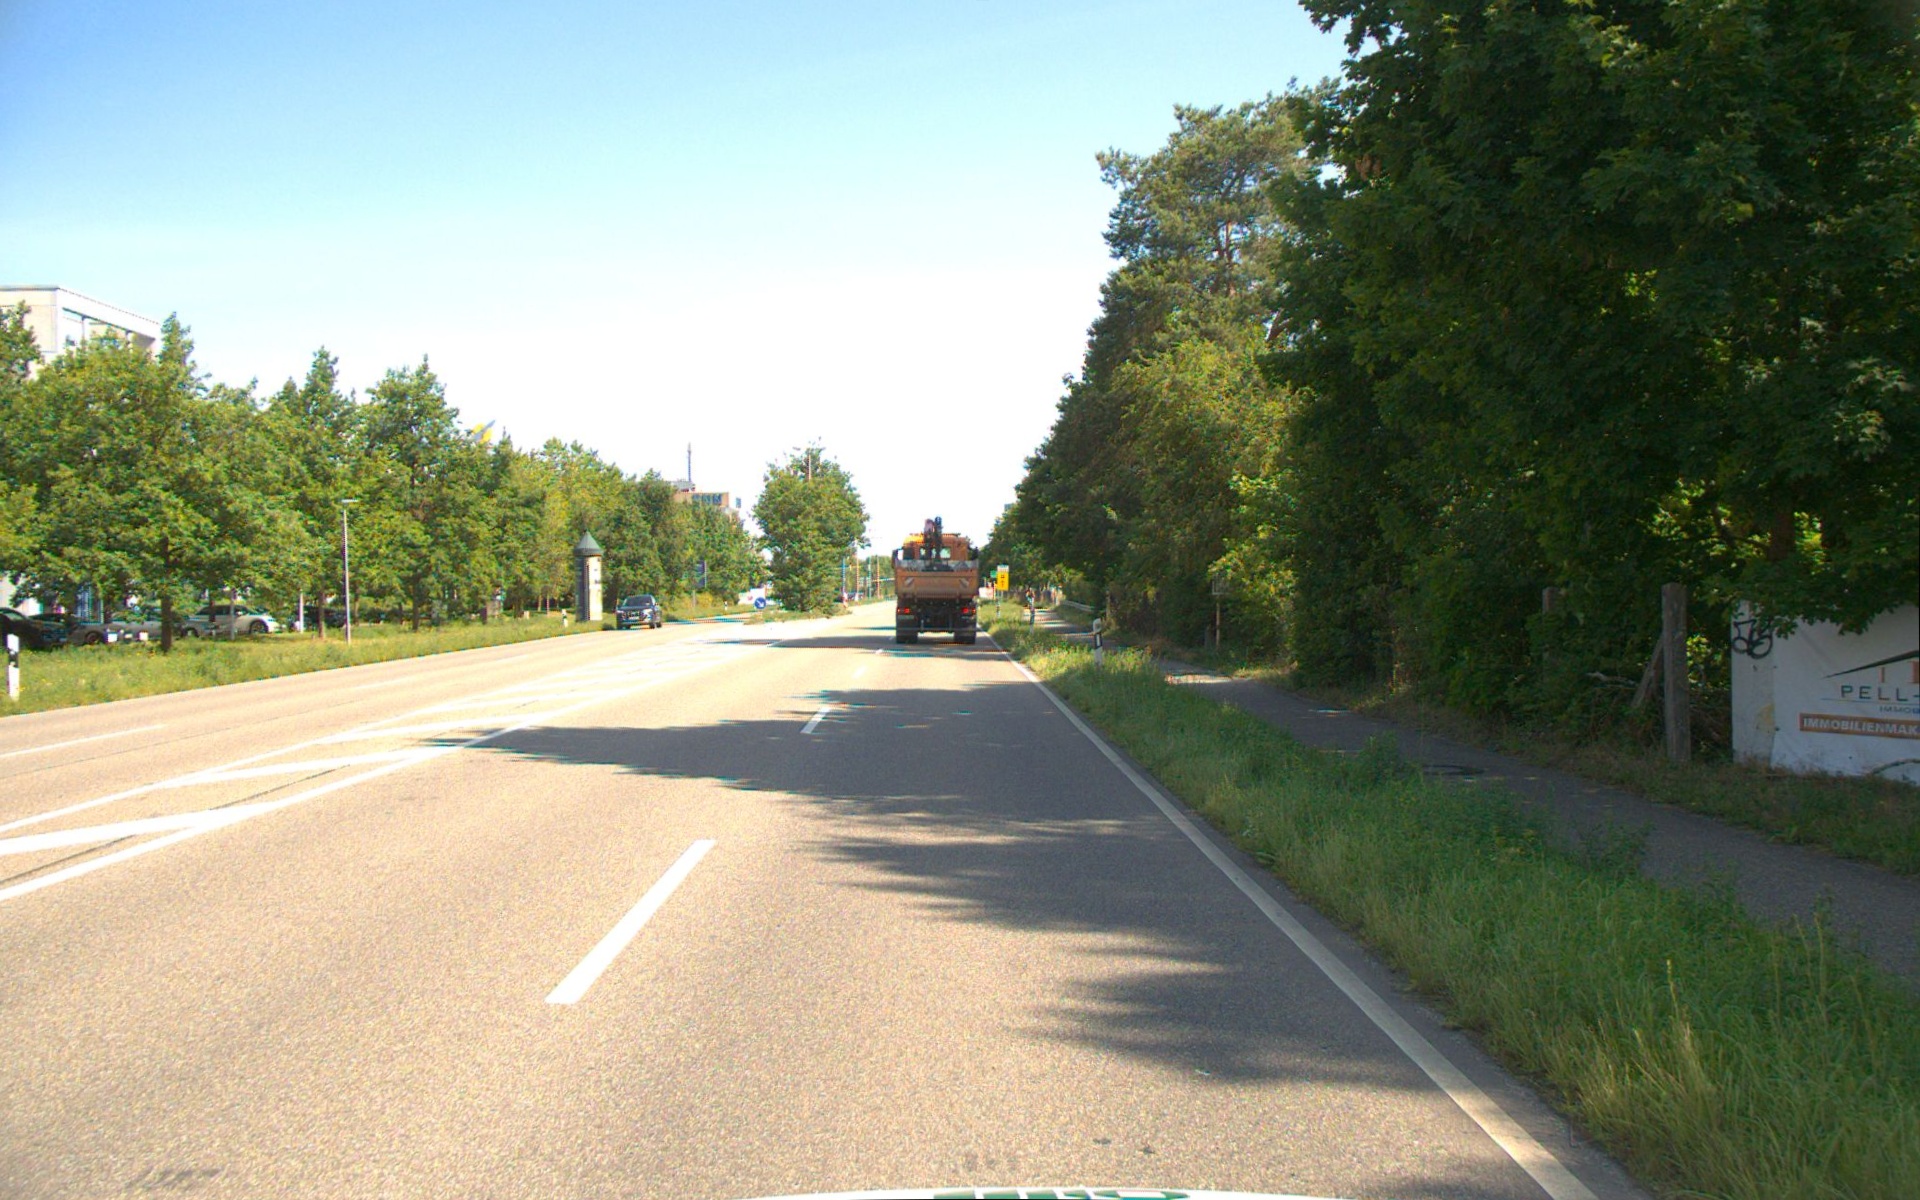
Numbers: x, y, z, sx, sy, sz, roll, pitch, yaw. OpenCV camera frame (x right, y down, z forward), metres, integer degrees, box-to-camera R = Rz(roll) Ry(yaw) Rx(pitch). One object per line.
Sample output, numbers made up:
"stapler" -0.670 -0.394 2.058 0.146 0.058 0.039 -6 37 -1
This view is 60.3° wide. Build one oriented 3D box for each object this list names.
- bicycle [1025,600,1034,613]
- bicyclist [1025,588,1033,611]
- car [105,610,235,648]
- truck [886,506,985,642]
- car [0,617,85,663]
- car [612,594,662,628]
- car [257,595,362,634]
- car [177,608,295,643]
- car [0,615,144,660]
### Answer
"bicycle" 4.899 0.462 116.782 0.547 0.830 1.963 -2 0 -1
"bicyclist" 4.875 -0.045 116.761 0.547 1.585 0.557 -2 0 -1
"car" -33.332 1.209 69.869 4.501 1.462 2.000 -1 0 -1
"truck" -0.879 -0.785 52.194 2.814 3.948 7.396 1 0 -3
"car" -32.200 1.357 55.582 4.501 1.462 2.000 -1 0 -1
"car" -16.030 0.519 82.232 1.764 1.599 3.999 -2 0 -1
"car" -32.602 0.733 82.984 4.439 1.788 2.001 -2 0 2
"car" -33.376 1.169 76.309 4.501 1.462 2.000 -1 0 -1
"car" -31.977 1.345 59.237 4.501 1.462 2.000 -1 0 -1
